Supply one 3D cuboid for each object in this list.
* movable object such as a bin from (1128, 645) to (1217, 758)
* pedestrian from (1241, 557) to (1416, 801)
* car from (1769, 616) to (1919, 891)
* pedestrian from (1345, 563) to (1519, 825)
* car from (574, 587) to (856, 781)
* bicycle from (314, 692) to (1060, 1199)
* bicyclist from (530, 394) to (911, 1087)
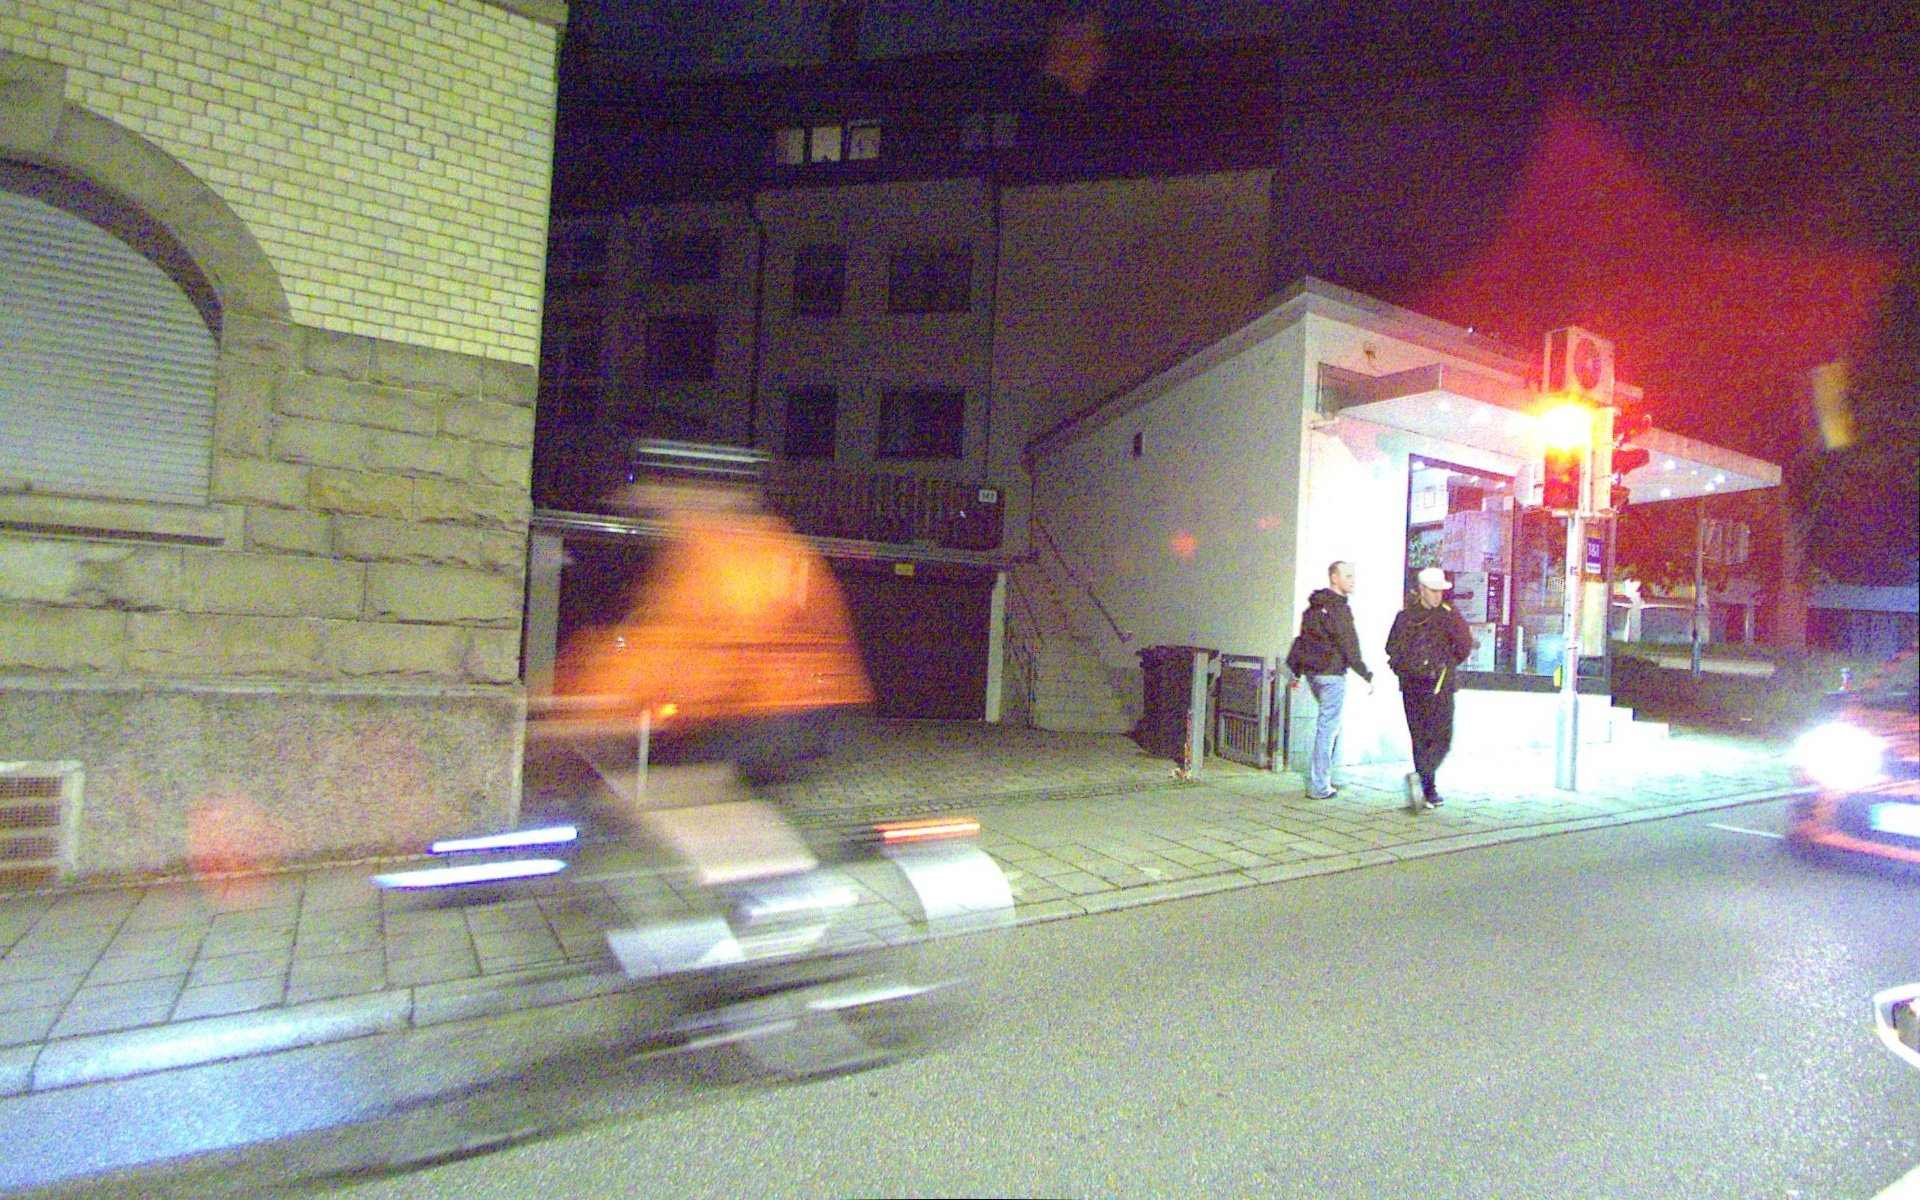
[{"bbox_3d":[2.114,0.997,10.023,0.643,1.063,0.639,2,0,-12],"label":"movable object such as a bin"},{"bbox_3d":[2.891,0.584,7.883,1.091,1.768,0.738,2,0,-31],"label":"pedestrian"},{"bbox_3d":[6.823,0.896,6.422,3.359,1.521,1.573,1,0,-33],"label":"car"},{"bbox_3d":[3.457,0.649,7.354,1.017,1.768,0.672,2,0,-31],"label":"pedestrian"},{"bbox_3d":[-2.455,0.649,9.494,1.655,1.470,3.341,2,-1,-31],"label":"car"},{"bbox_3d":[-0.704,0.893,2.931,1.928,1.164,0.693,2,0,-30],"label":"bicycle"},{"bbox_3d":[-0.712,0.348,2.930,0.886,1.659,0.687,2,0,-30],"label":"bicyclist"}]
